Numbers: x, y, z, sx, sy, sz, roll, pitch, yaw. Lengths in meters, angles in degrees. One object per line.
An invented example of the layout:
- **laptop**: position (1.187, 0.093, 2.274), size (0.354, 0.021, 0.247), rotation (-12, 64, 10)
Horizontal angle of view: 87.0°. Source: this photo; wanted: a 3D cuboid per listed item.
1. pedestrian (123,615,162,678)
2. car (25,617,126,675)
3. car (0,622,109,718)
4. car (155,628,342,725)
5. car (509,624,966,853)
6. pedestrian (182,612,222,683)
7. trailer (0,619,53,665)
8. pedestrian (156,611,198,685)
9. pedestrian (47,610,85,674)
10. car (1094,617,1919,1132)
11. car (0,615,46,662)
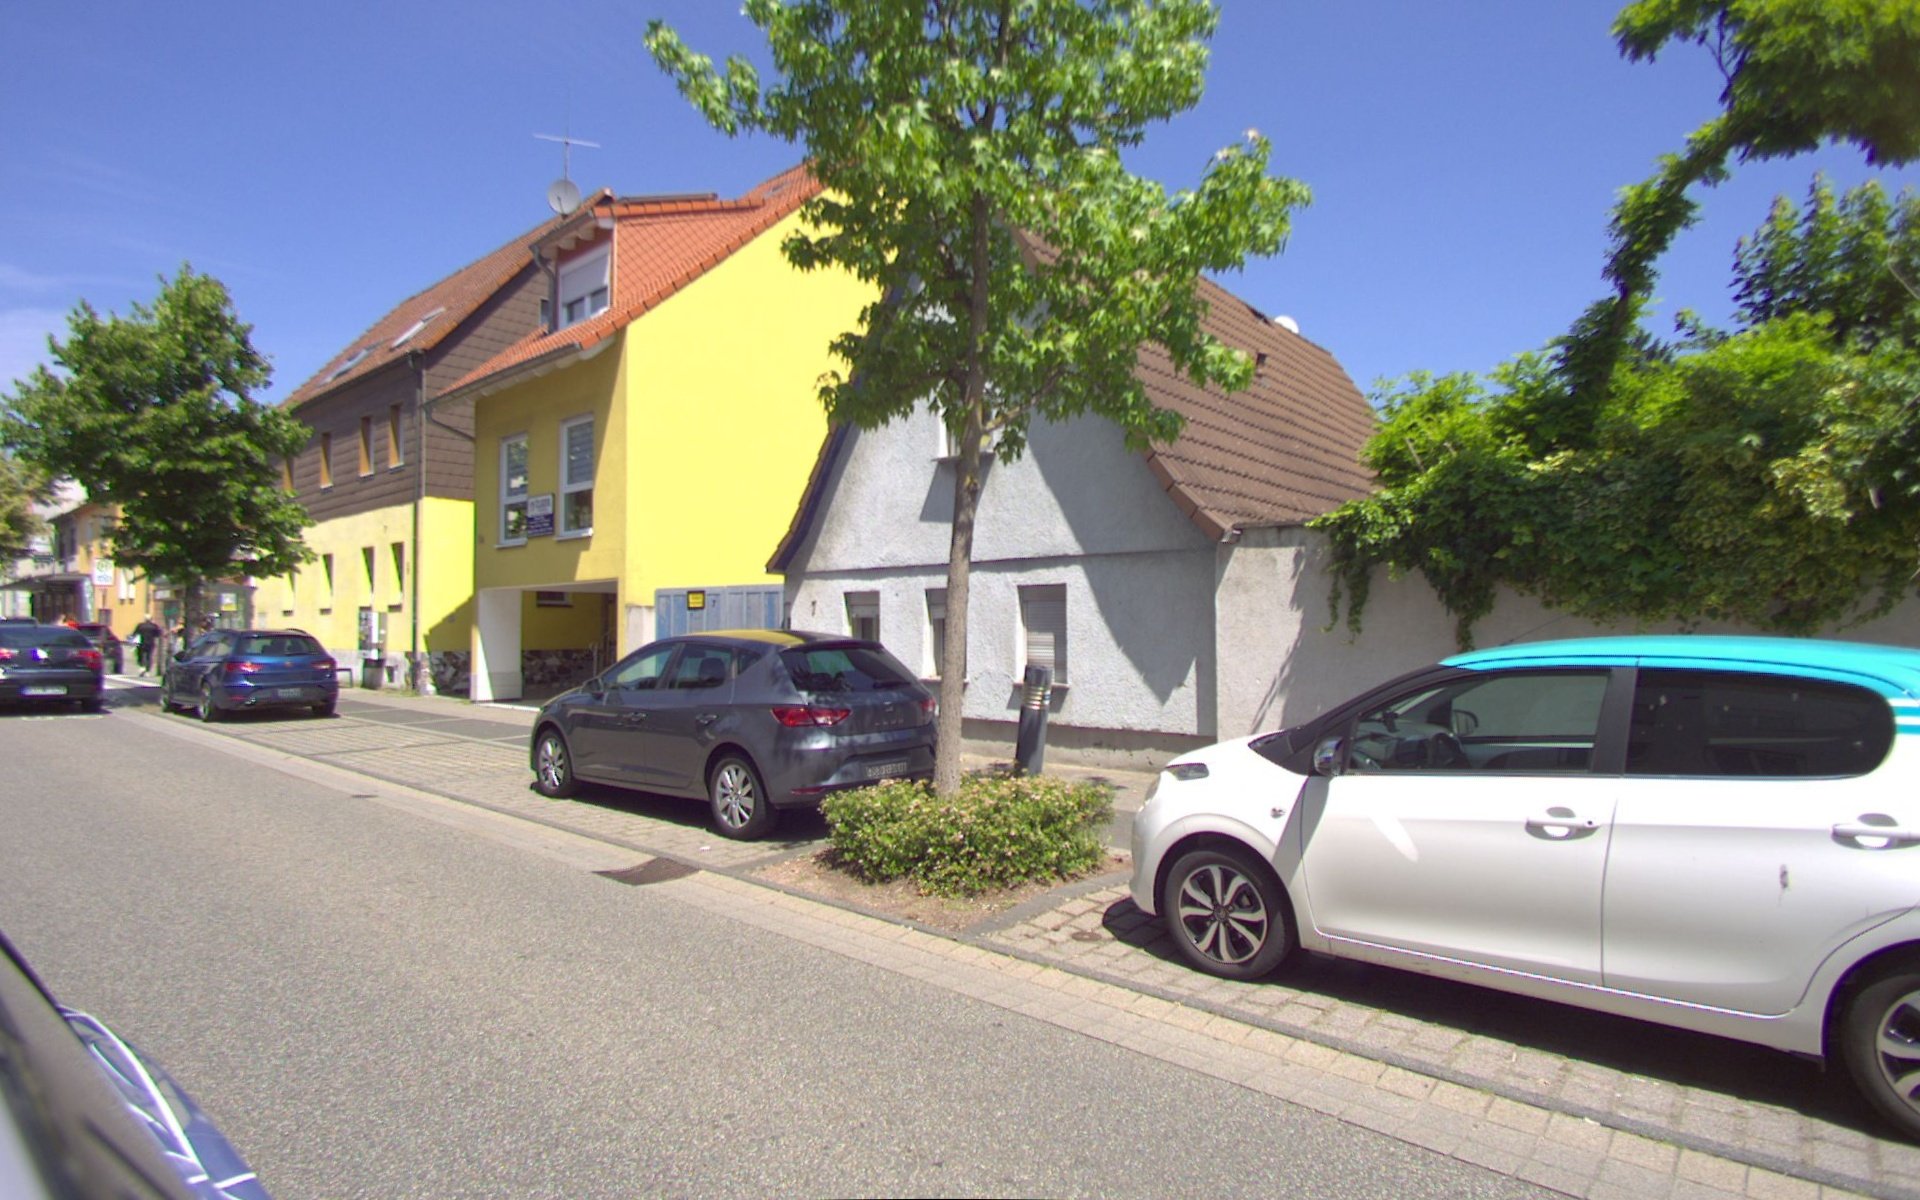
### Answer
- **pedestrian**: position (-21.212, 1.198, 26.260), size (0.770, 1.614, 0.654), rotation (-2, -3, 42)
- **car**: position (-26.198, 1.326, 29.934), size (4.156, 1.587, 1.730), rotation (-2, -2, 42)
- **car**: position (-16.093, 1.135, 17.357), size (3.998, 1.484, 1.671), rotation (-1, -3, 41)
- **car**: position (-11.907, 1.175, 16.834), size (4.156, 1.418, 1.638), rotation (-1, -2, 42)
- **car**: position (-2.022, 0.930, 8.412), size (4.097, 1.441, 1.628), rotation (-1, -2, 42)
- **pedestrian**: position (-17.588, 1.089, 23.490), size (0.528, 1.614, 0.623), rotation (-2, -3, 42)
- **trailer**: position (-35.605, 1.561, 38.186), size (3.879, 1.593, 1.474), rotation (-2, 0, 39)
- **pedestrian**: position (-17.518, 1.069, 22.633), size (0.528, 1.614, 0.623), rotation (-2, -3, 42)
- **pedestrian**: position (-23.786, 1.107, 26.940), size (0.624, 1.668, 0.635), rotation (-2, -3, 41)
- **car**: position (2.398, 0.805, 4.143), size (3.409, 1.441, 1.537), rotation (-1, -2, 42)
- **car**: position (-38.586, 1.550, 41.082), size (3.997, 1.765, 1.674), rotation (-1, 0, 40)
